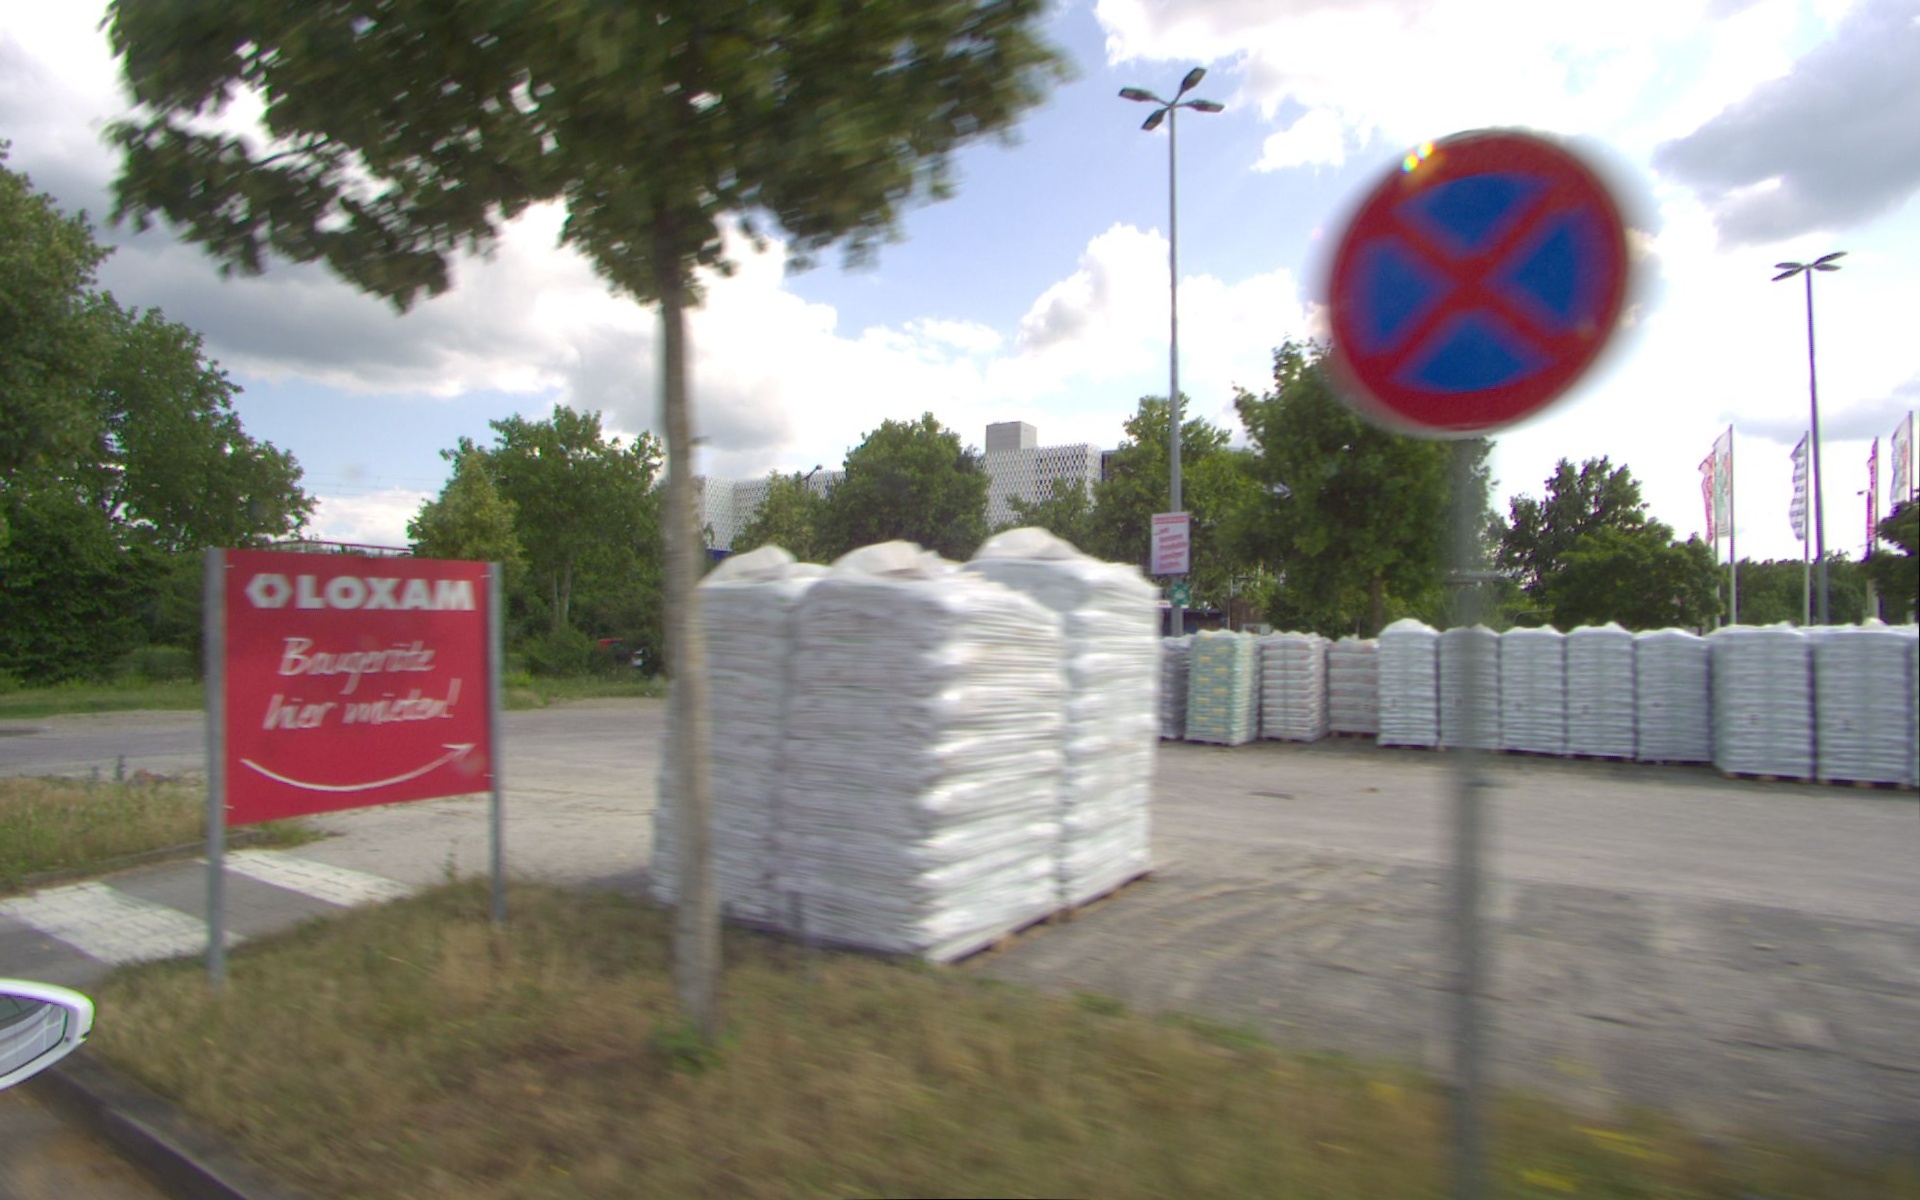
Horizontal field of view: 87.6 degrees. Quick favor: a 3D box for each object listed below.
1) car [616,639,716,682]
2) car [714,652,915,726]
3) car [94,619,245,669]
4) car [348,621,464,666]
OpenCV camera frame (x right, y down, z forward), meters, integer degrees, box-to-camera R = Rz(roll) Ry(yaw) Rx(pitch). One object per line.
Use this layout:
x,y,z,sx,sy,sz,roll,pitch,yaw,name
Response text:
-13.019,2.683,44.318,3.937,1.736,1.994,-1,-4,-26,car
-2.903,1.738,20.342,3.743,1.338,1.600,2,-2,-38,car
-28.823,1.608,36.687,3.938,1.737,1.993,2,-2,-26,car
-22.297,1.756,40.494,3.938,1.737,1.993,2,-2,-26,car
